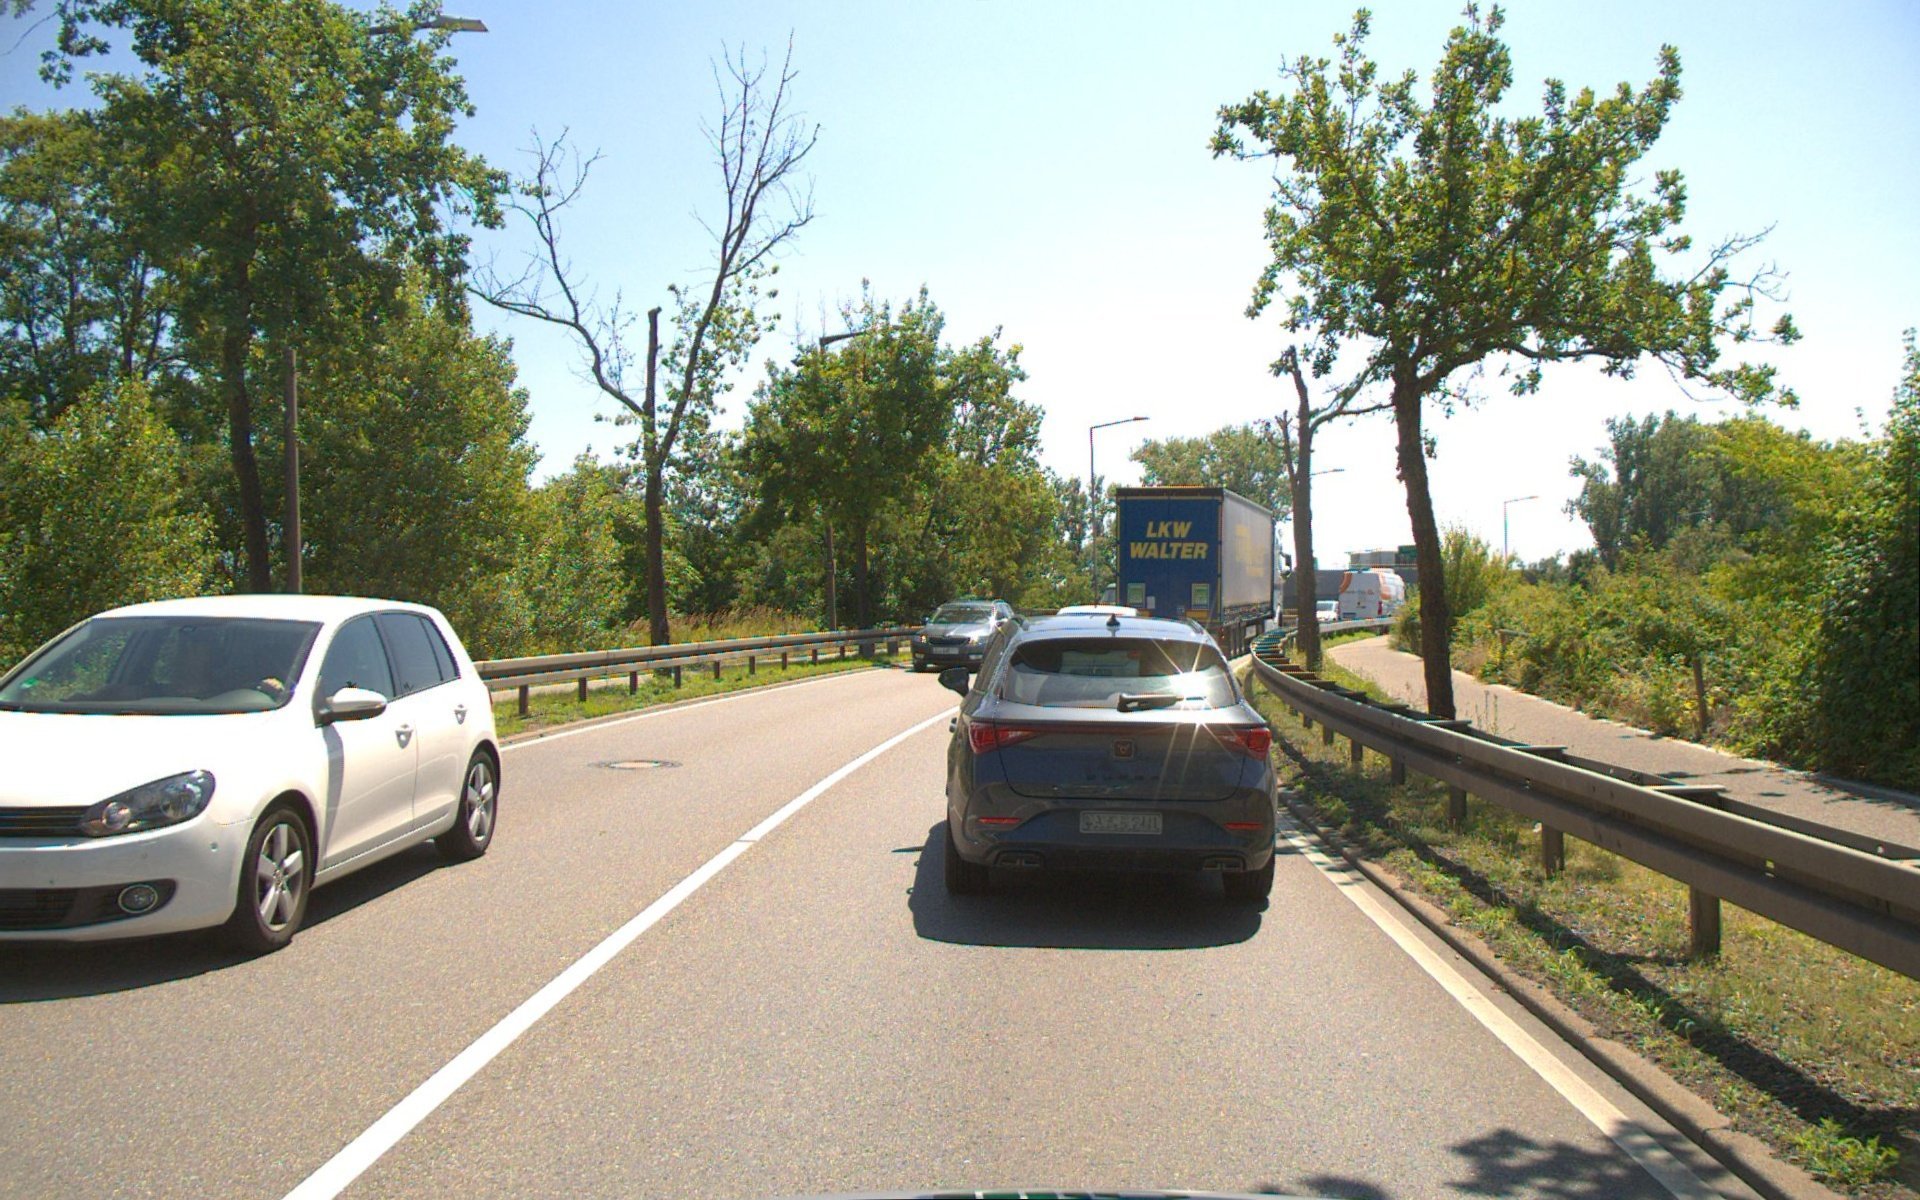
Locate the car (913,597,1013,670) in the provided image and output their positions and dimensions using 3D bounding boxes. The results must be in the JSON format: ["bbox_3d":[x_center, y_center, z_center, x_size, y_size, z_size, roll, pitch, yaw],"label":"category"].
[{"bbox_3d":[0.123,0.669,35.580,1.707,1.472,4.520,0,0,6],"label":"car"}]

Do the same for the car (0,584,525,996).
[{"bbox_3d":[-3.574,0.676,8.017,1.689,1.464,4.025,1,0,2],"label":"car"}]

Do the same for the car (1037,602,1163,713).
[{"bbox_3d":[2.152,0.796,24.664,1.559,1.486,3.548,1,0,10],"label":"car"}]

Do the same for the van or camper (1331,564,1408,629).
[{"bbox_3d":[18.254,-0.164,73.462,2.160,2.758,5.920,0,0,26],"label":"van or camper"}]

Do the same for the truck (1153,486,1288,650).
[{"bbox_3d":[8.163,-0.886,50.997,3.103,4.665,7.401,1,0,16],"label":"truck"}]

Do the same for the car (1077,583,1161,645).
[{"bbox_3d":[5.363,0.449,55.177,1.792,1.972,4.778,0,0,18],"label":"car"}]

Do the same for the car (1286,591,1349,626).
[{"bbox_3d":[16.990,0.386,78.503,1.764,1.646,3.992,0,0,30],"label":"car"}]

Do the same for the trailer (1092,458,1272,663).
[{"bbox_3d":[6.280,-0.922,44.379,3.067,4.694,12.957,1,0,15],"label":"trailer"}]

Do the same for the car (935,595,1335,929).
[{"bbox_3d":[0.779,0.735,9.463,1.808,1.525,3.757,0,0,-1],"label":"car"}]
